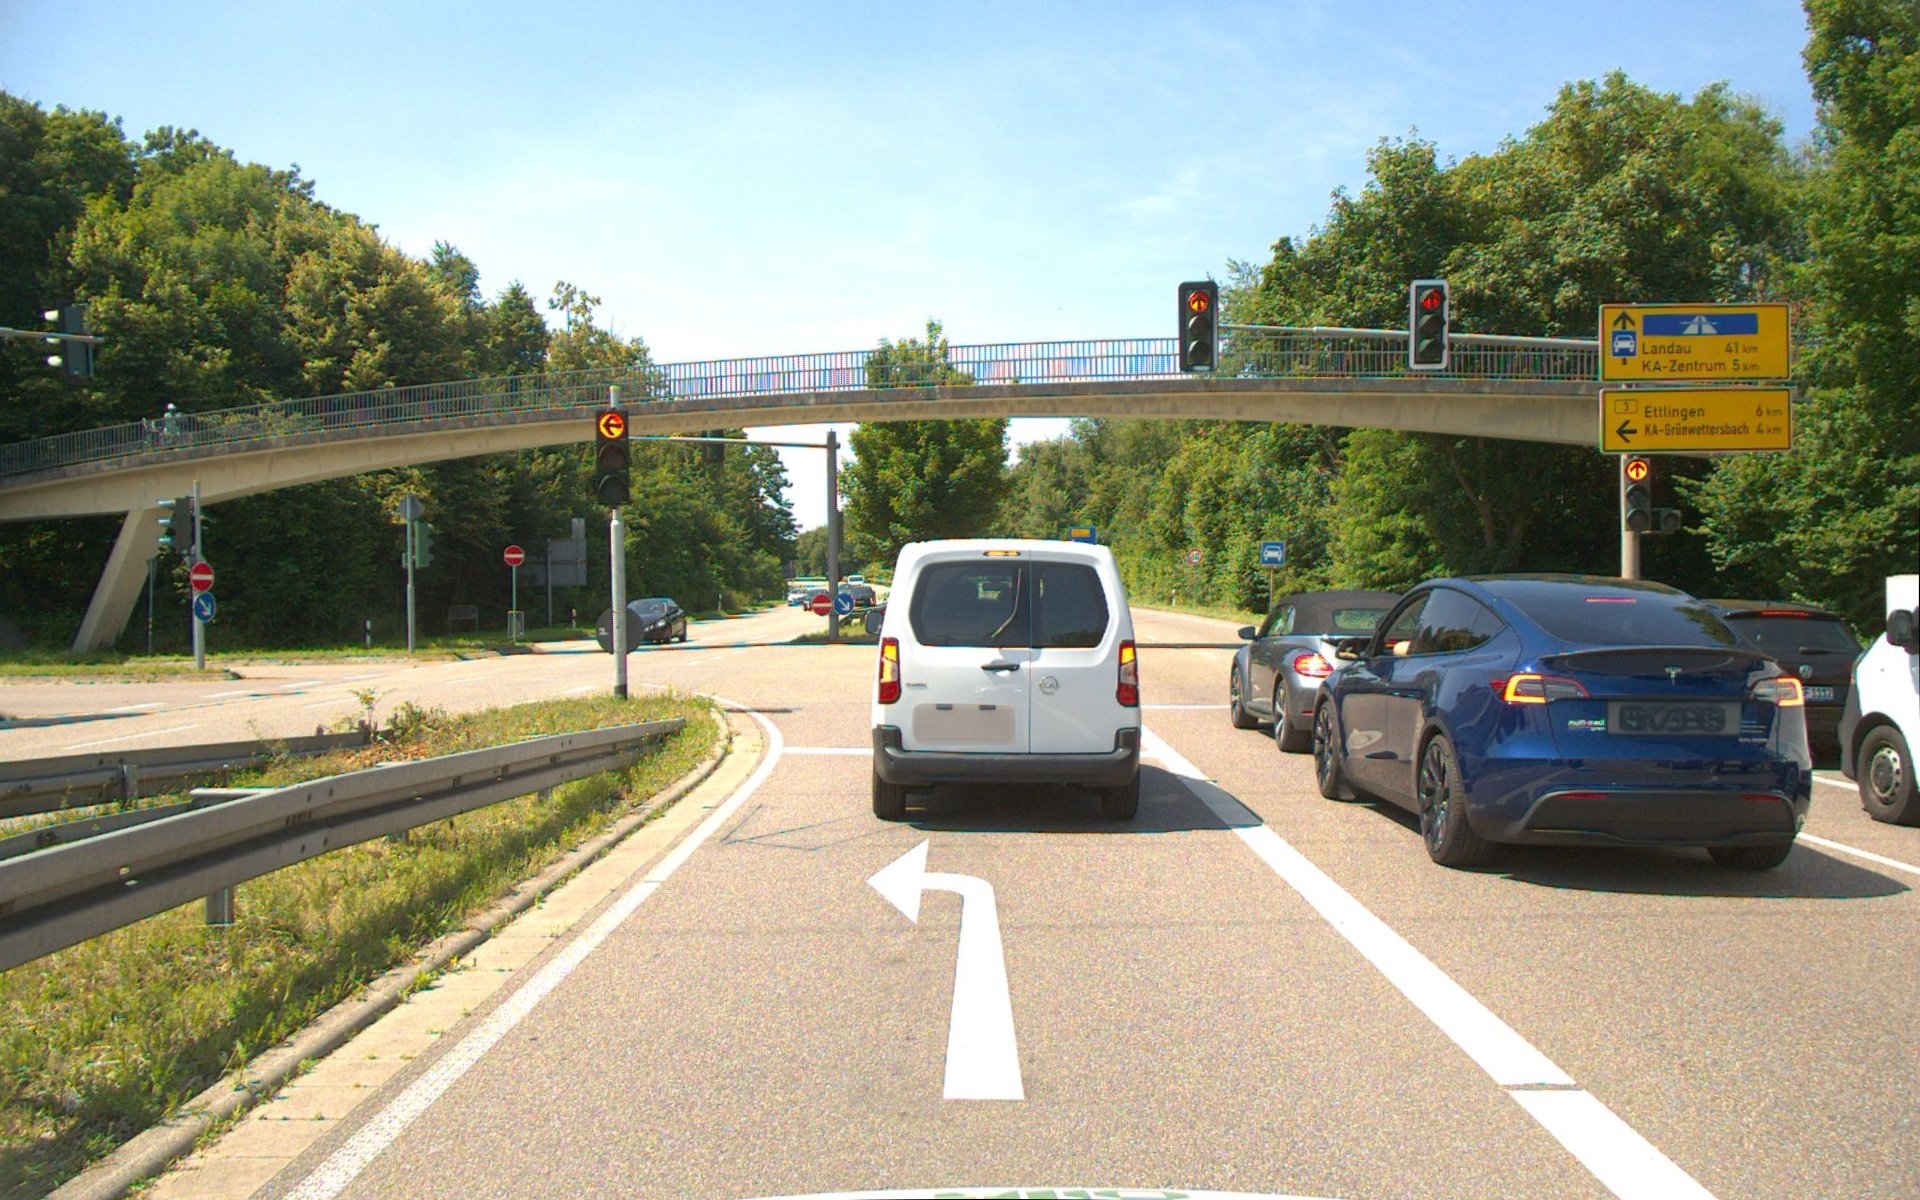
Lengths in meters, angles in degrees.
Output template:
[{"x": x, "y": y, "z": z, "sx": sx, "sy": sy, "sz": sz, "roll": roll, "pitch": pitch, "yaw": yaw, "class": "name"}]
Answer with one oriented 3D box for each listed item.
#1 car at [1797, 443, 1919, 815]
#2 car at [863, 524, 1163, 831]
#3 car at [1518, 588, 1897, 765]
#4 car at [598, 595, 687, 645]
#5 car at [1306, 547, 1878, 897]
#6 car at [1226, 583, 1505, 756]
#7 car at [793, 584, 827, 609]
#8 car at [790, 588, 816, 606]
[{"x": 7.102, "y": 0.206, "z": 9.635, "sx": 1.893, "sy": 2.390, "sz": 5.075, "roll": 1, "pitch": 0, "yaw": 0, "class": "car"}, {"x": 0.326, "y": 0.436, "z": 12.125, "sx": 1.811, "sy": 1.857, "sz": 3.981, "roll": 1, "pitch": 1, "yaw": 0, "class": "car"}, {"x": 7.259, "y": 0.654, "z": 16.610, "sx": 1.861, "sy": 1.503, "sz": 4.381, "roll": 1, "pitch": 1, "yaw": 1, "class": "car"}, {"x": -10.156, "y": 0.612, "z": 53.198, "sx": 1.967, "sy": 1.486, "sz": 4.056, "roll": -2, "pitch": 0, "yaw": 1, "class": "car"}, {"x": 3.536, "y": 0.568, "z": 10.279, "sx": 1.861, "sy": 1.673, "sz": 4.521, "roll": 1, "pitch": 1, "yaw": 1, "class": "car"}, {"x": 3.905, "y": 0.592, "z": 16.609, "sx": 1.861, "sy": 1.503, "sz": 3.939, "roll": 1, "pitch": 1, "yaw": 1, "class": "car"}, {"x": -10.489, "y": -0.251, "z": 115.828, "sx": 1.952, "sy": 1.694, "sz": 4.001, "roll": -1, "pitch": 1, "yaw": 1, "class": "car"}, {"x": -13.247, "y": -0.277, "z": 140.039, "sx": 1.716, "sy": 1.431, "sz": 4.001, "roll": -1, "pitch": 1, "yaw": 1, "class": "car"}]
